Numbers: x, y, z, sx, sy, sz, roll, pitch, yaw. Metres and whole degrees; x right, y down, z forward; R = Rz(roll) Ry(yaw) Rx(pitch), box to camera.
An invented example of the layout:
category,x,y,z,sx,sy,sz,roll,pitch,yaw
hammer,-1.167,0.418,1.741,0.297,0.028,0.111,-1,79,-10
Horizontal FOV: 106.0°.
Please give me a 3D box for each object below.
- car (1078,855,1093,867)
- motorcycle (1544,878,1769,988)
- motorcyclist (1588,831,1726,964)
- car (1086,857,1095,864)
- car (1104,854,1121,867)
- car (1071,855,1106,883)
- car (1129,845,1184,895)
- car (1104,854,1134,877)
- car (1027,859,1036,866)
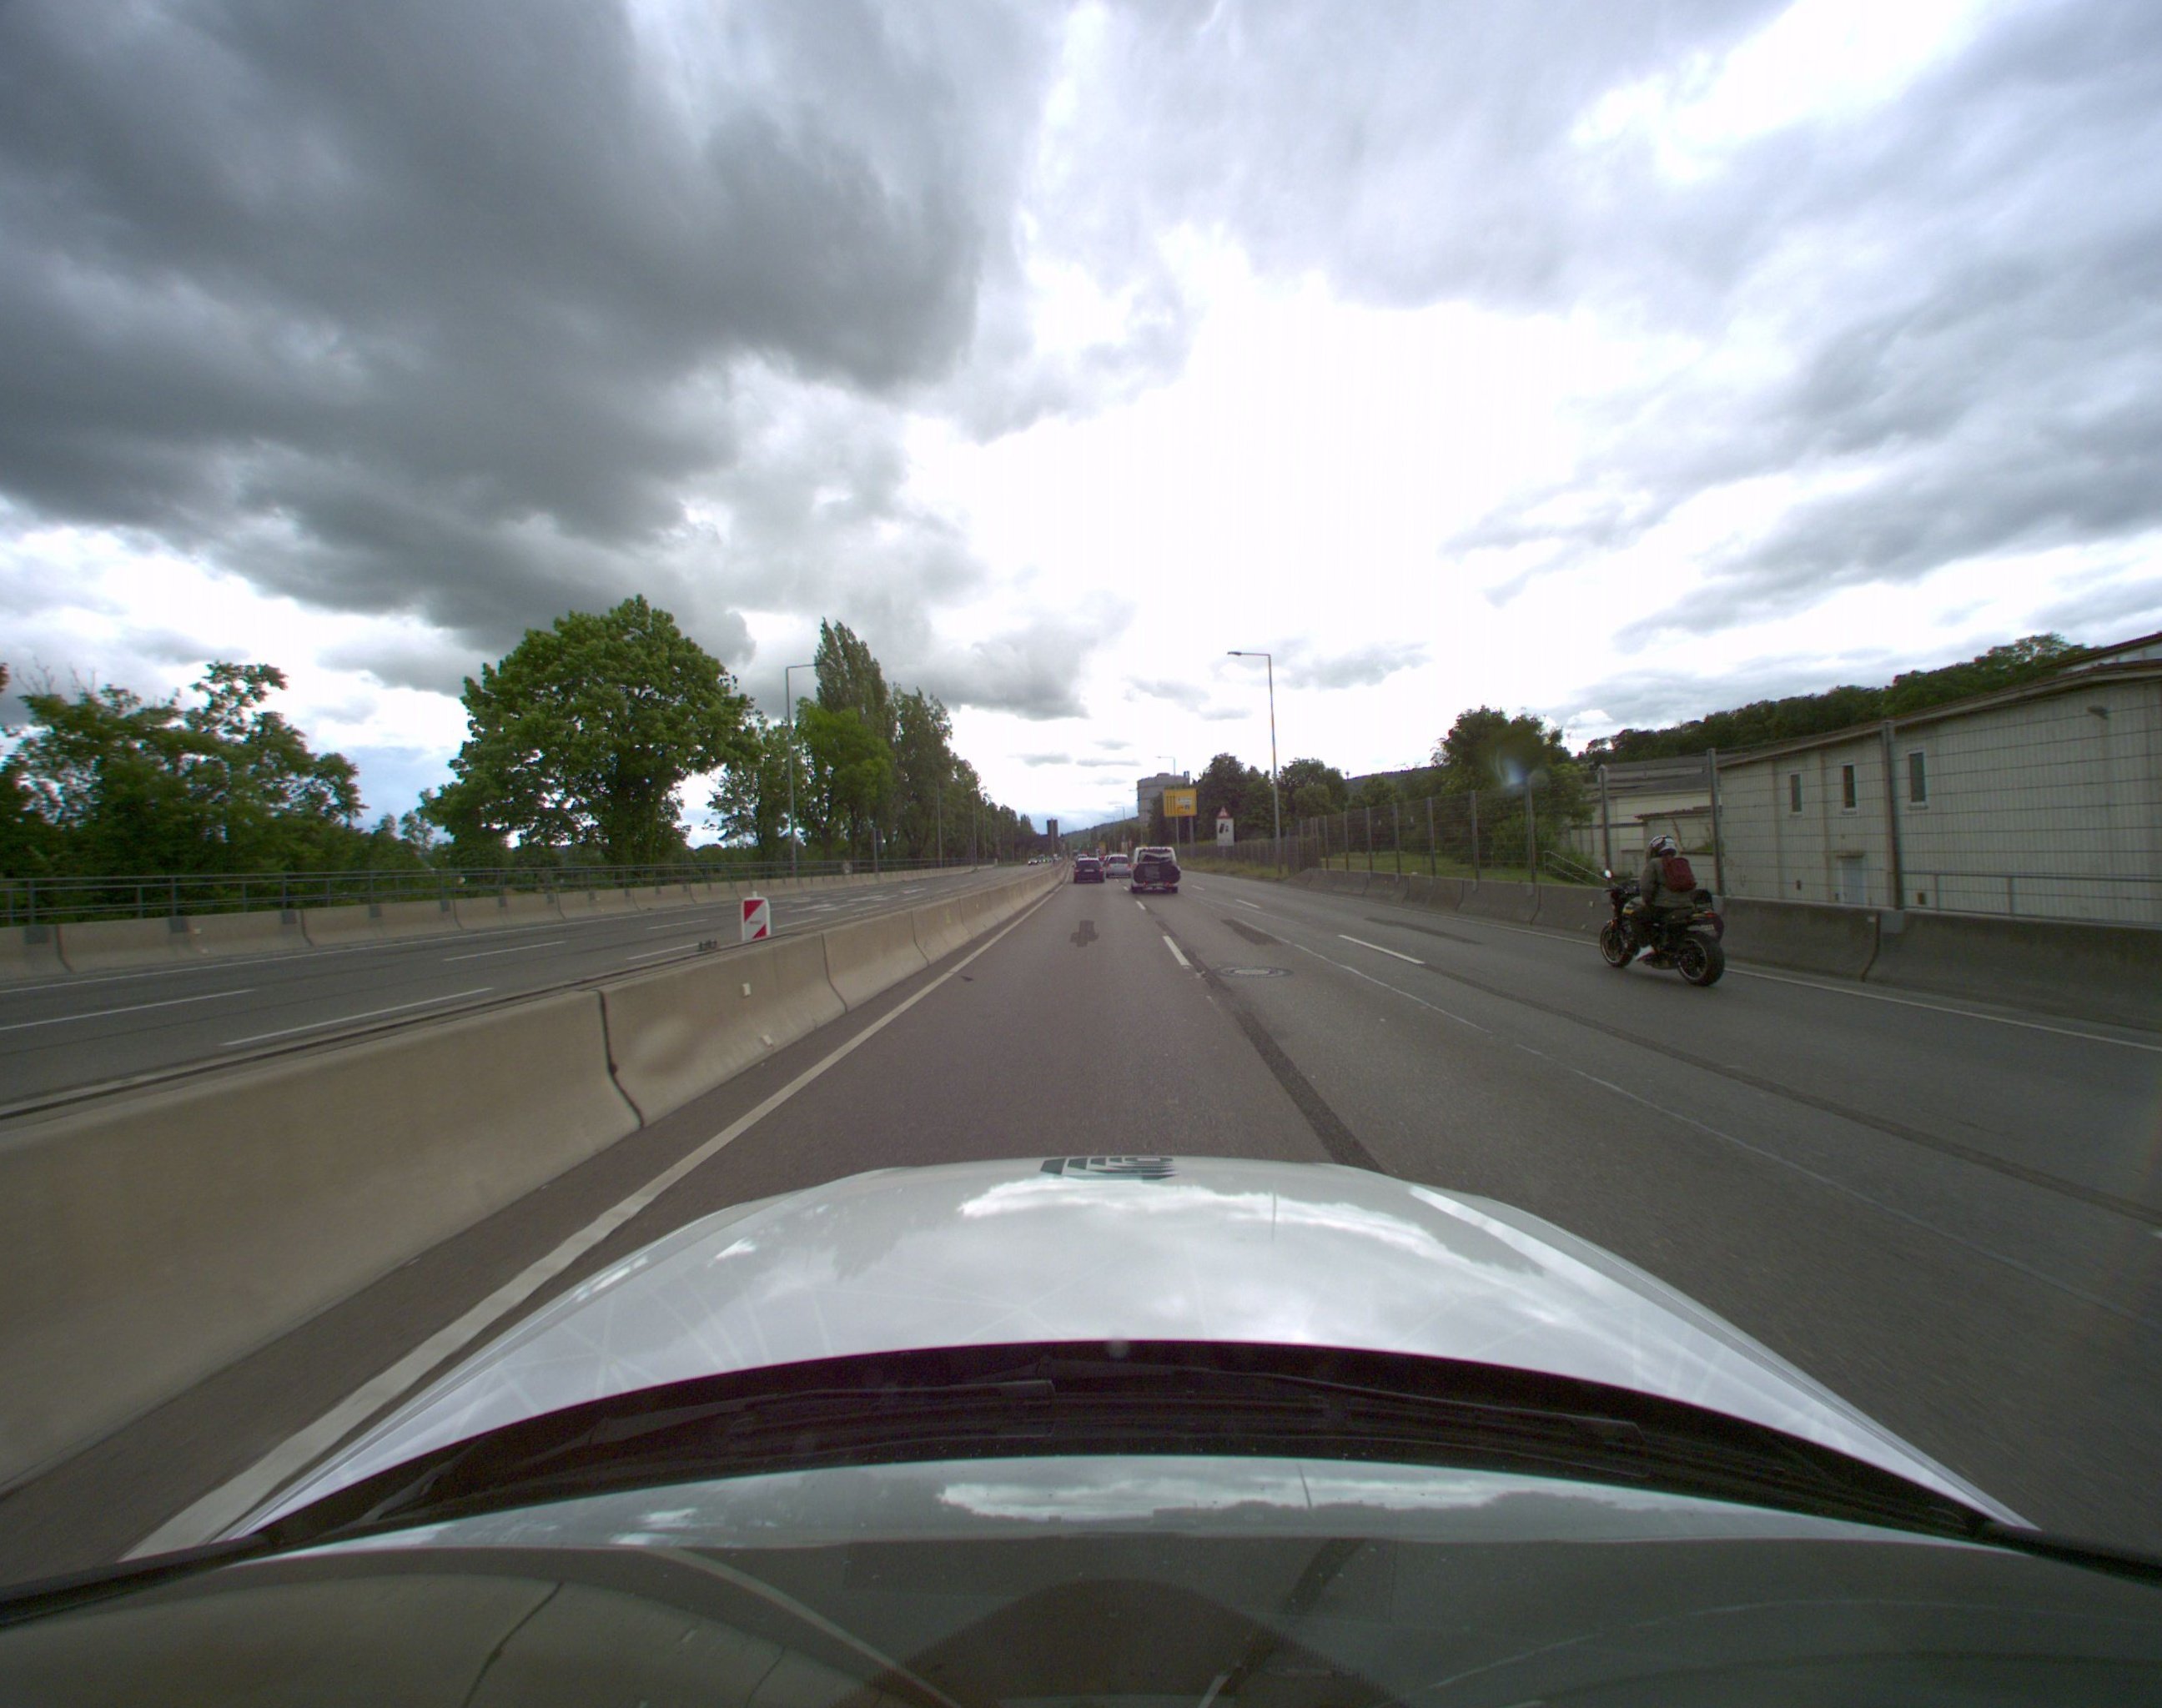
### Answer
category,x,y,z,sx,sy,sz,roll,pitch,yaw
car,0.655,0.997,112.960,1.985,1.673,4.002,-1,-1,3
motorcycle,6.845,0.871,9.943,0.742,1.083,2.662,-2,-1,-2
motorcyclist,6.837,0.491,9.716,0.910,1.477,0.966,-2,-1,-3
car,2.403,1.496,201.740,1.987,1.654,3.999,-1,0,-1
car,4.035,0.830,104.687,1.986,1.669,4.001,-2,0,1
car,0.496,0.804,46.836,1.808,1.434,4.068,-3,0,2
car,3.040,0.621,33.799,1.985,1.859,5.645,-2,0,3
car,2.574,0.750,55.359,1.913,1.489,4.066,-2,0,1
car,-9.730,1.695,161.105,1.729,1.374,3.612,-2,0,-3
